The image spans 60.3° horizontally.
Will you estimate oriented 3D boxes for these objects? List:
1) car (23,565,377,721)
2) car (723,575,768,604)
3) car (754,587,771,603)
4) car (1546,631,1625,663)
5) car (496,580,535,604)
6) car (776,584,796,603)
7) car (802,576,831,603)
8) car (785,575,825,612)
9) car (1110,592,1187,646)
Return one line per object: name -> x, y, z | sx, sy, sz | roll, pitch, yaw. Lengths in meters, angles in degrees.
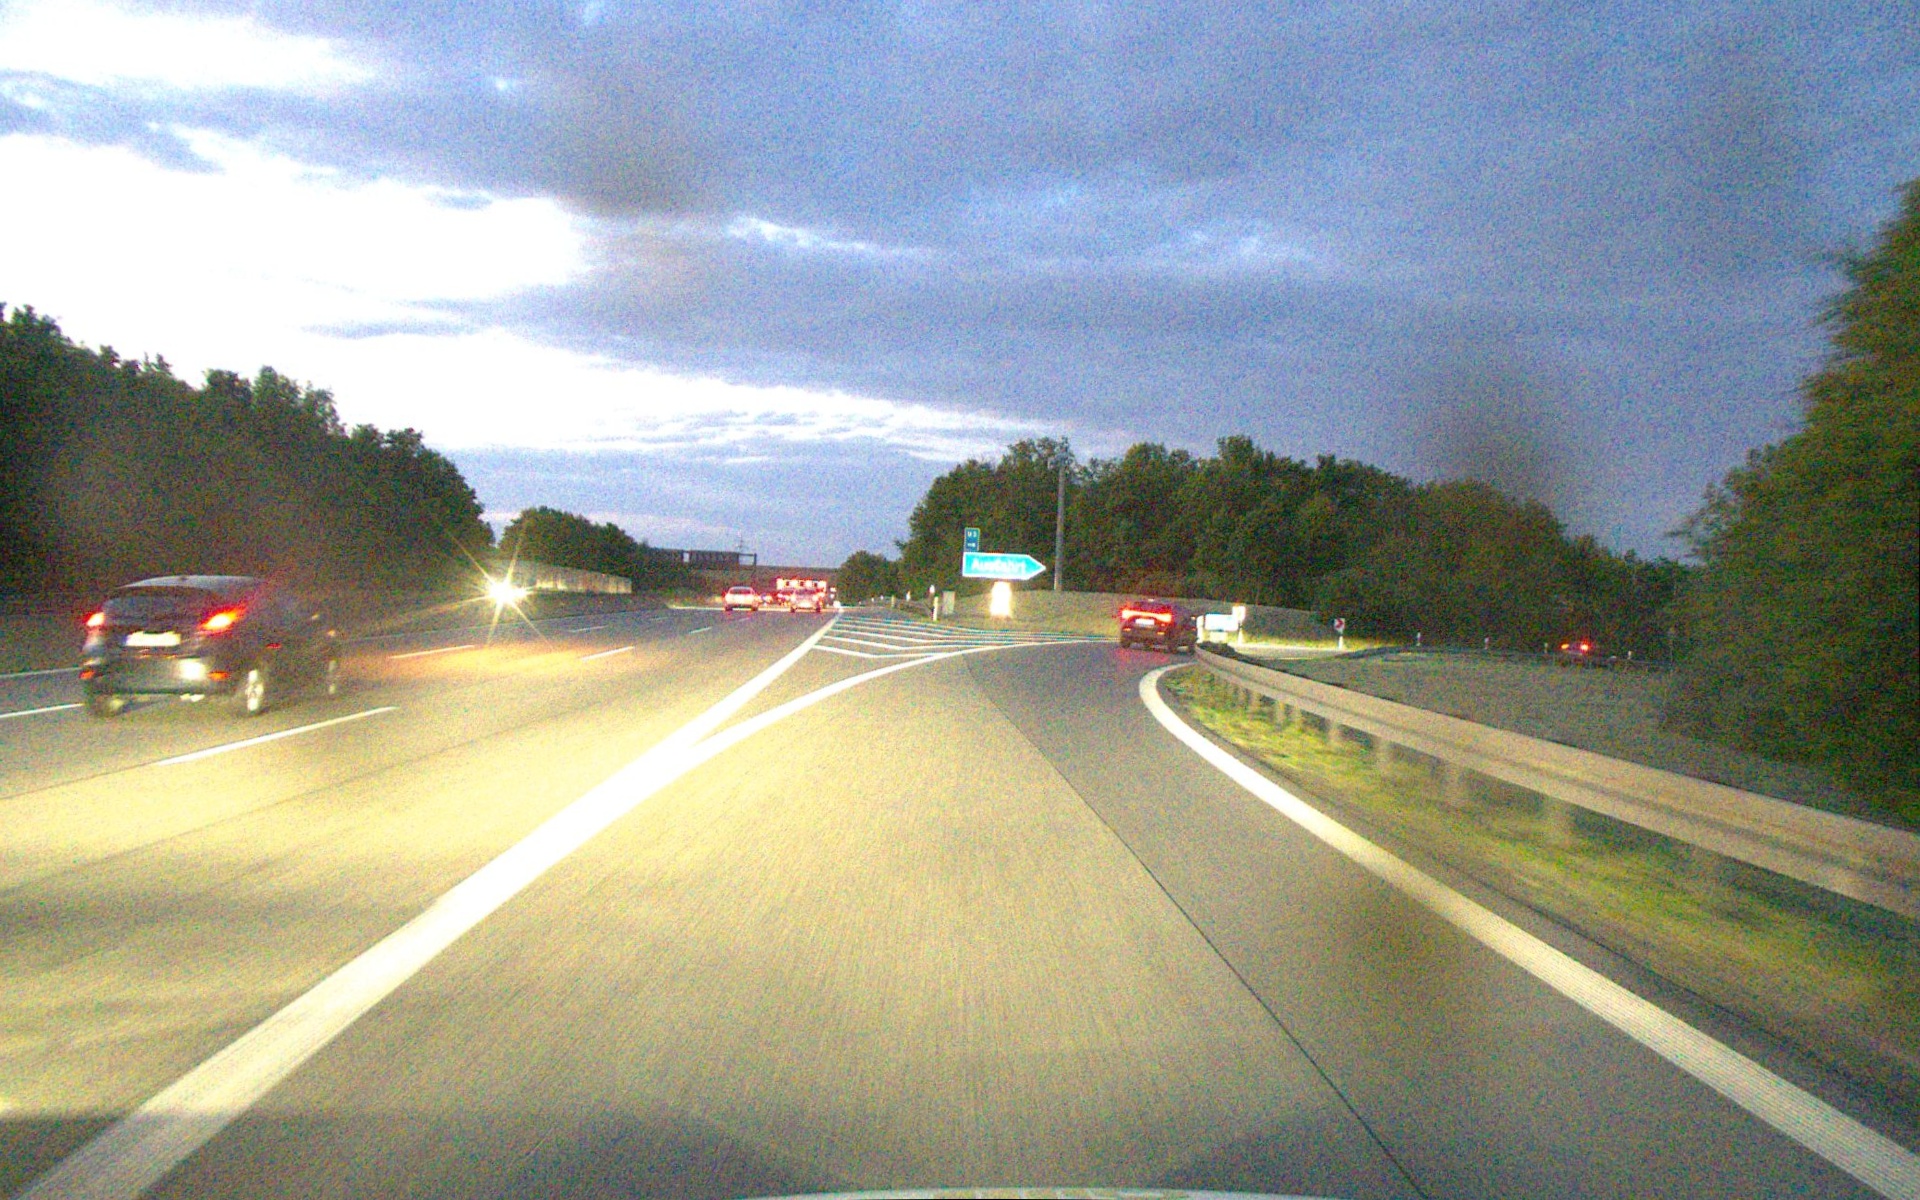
car -> -8.292, 0.399, 18.583 | 1.953, 1.524, 4.547 | 1, 1, -2
car -> -12.971, -0.641, 100.161 | 1.952, 1.671, 4.556 | 0, 1, 2
car -> -25.376, -0.678, 212.813 | 2.064, 2.049, 3.994 | -1, 1, -7
car -> 35.334, 2.637, 93.376 | 3.937, 1.626, 1.984 | 2, 0, -26
car -> -32.365, -0.578, 120.545 | 1.955, 1.537, 3.996 | 4, 1, -5
car -> -18.953, -0.702, 180.508 | 2.031, 2.049, 3.996 | 0, 1, -5
car -> -11.232, -0.858, 129.713 | 1.953, 2.049, 4.000 | 0, 1, 0
car -> -8.902, -0.406, 95.297 | 1.953, 2.049, 3.999 | 1, 1, -1
car -> 6.142, 0.587, 54.344 | 1.953, 1.688, 4.314 | 0, 1, -1
